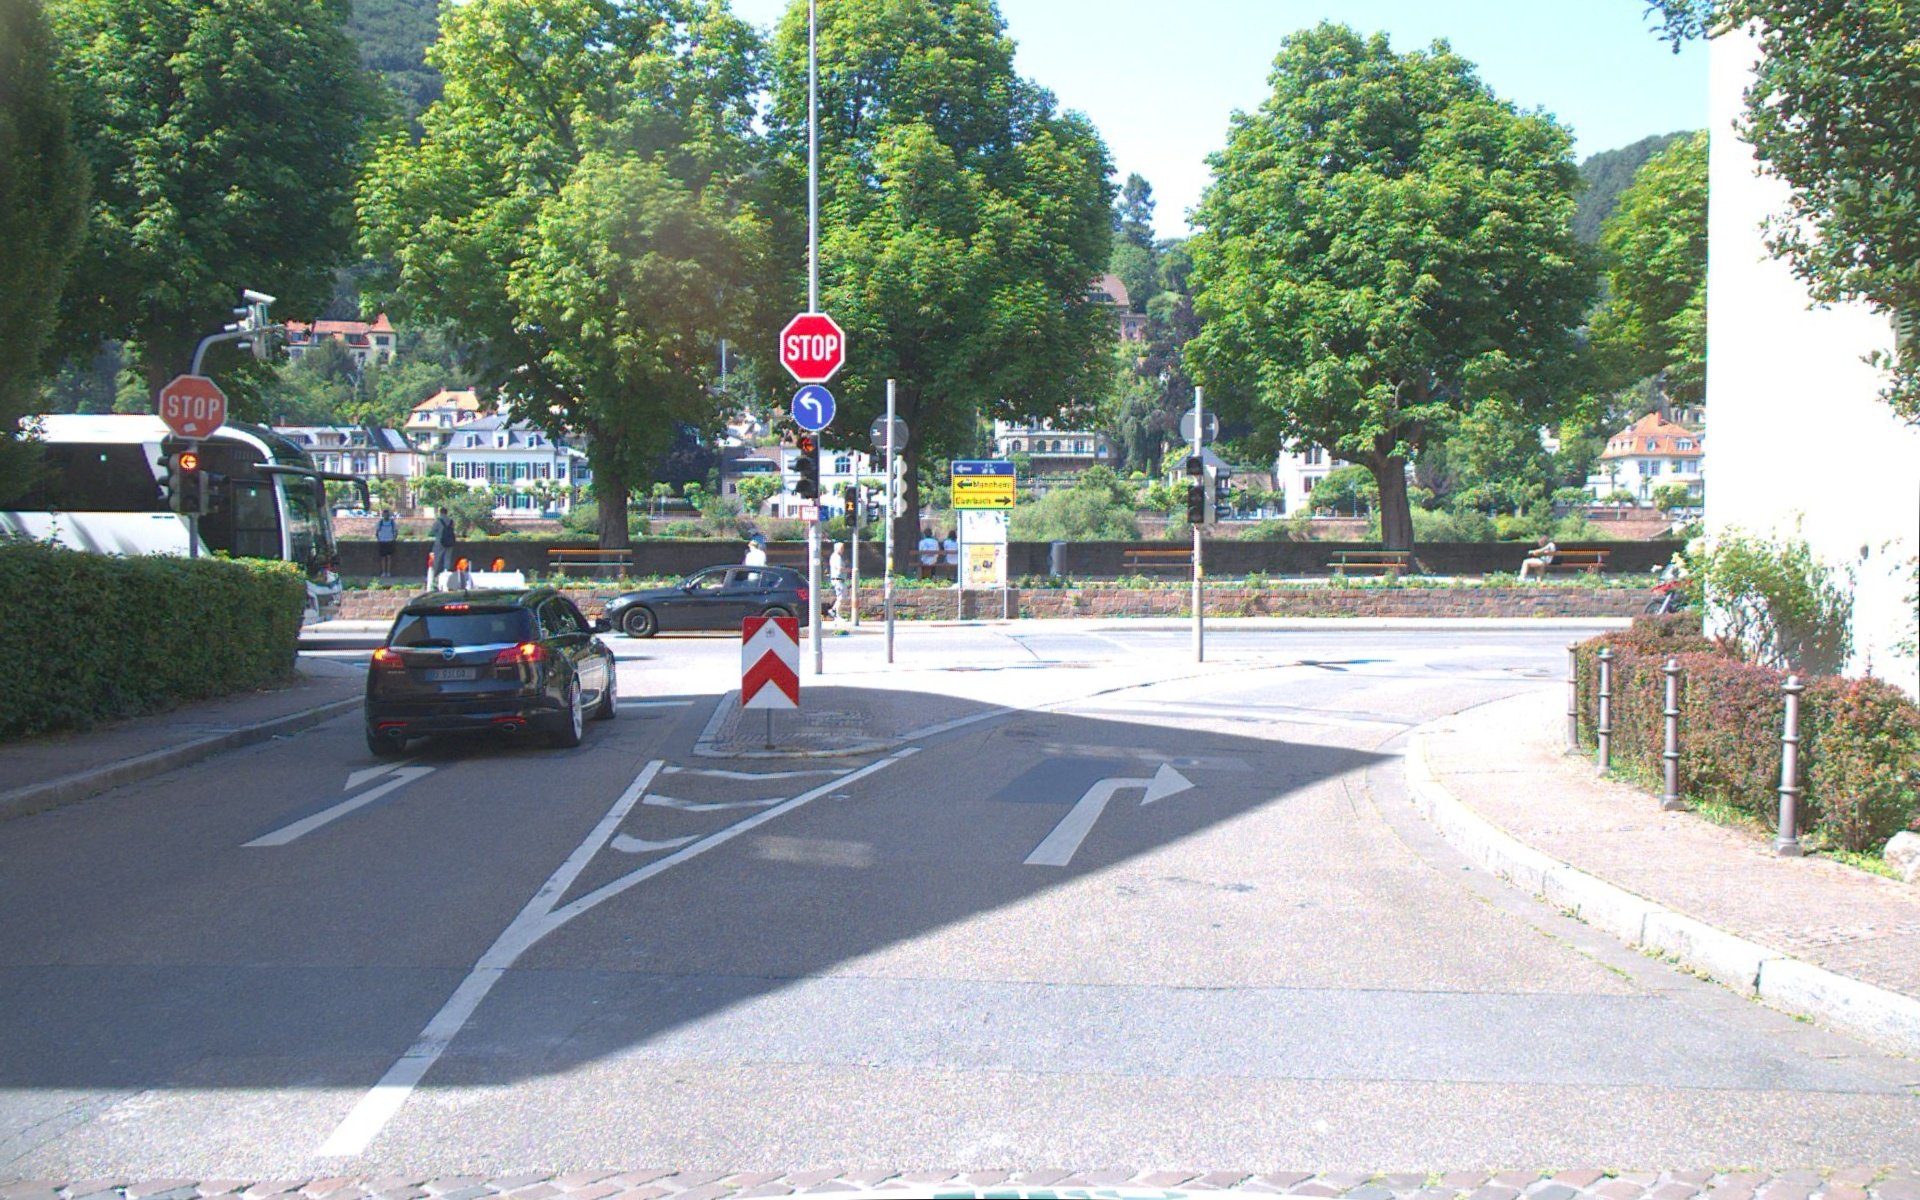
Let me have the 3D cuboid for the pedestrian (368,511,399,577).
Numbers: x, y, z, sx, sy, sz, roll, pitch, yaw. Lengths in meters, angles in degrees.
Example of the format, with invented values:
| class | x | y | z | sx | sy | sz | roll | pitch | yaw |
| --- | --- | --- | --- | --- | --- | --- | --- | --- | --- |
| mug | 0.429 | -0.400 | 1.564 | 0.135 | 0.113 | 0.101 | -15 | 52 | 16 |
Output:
| class | x | y | z | sx | sy | sz | roll | pitch | yaw |
| --- | --- | --- | --- | --- | --- | --- | --- | --- | --- |
| pedestrian | -15.457 | -1.496 | 44.365 | 0.696 | 1.762 | 0.754 | 0 | 1 | -15 |

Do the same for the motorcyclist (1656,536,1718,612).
| class | x | y | z | sx | sy | sz | roll | pitch | yaw |
| --- | --- | --- | --- | --- | --- | --- | --- | --- | --- |
| motorcyclist | 15.001 | -0.542 | 34.125 | 0.855 | 1.520 | 0.817 | -2 | 1 | -7 |

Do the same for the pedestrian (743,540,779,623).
| class | x | y | z | sx | sy | sz | roll | pitch | yaw |
| --- | --- | --- | --- | --- | --- | --- | --- | --- | --- |
| pedestrian | -4.445 | -0.408 | 36.953 | 0.707 | 1.833 | 0.634 | -1 | 0 | -2 |

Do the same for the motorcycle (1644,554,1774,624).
| class | x | y | z | sx | sy | sz | roll | pitch | yaw |
| --- | --- | --- | --- | --- | --- | --- | --- | --- | --- |
| motorcycle | 15.455 | -0.236 | 34.155 | 2.416 | 1.400 | 0.762 | 0 | 1 | -7 |

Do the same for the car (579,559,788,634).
| class | x | y | z | sx | sy | sz | roll | pitch | yaw |
| --- | --- | --- | --- | --- | --- | --- | --- | --- | --- |
| car | -5.405 | -0.082 | 32.754 | 3.908 | 1.443 | 1.873 | 0 | 1 | -4 |

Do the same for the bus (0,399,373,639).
| class | x | y | z | sx | sy | sz | roll | pitch | yaw |
| --- | --- | --- | --- | --- | --- | --- | --- | --- | --- |
| bus | -16.440 | -1.333 | 27.941 | 11.906 | 3.854 | 2.903 | 0 | 1 | -6 |

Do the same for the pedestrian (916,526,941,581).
| class | x | y | z | sx | sy | sz | roll | pitch | yaw |
| --- | --- | --- | --- | --- | --- | --- | --- | --- | --- |
| pedestrian | -0.781 | -1.135 | 40.600 | 0.542 | 1.302 | 0.703 | 2 | -2 | -4 |

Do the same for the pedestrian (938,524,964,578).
| class | x | y | z | sx | sy | sz | roll | pitch | yaw |
| --- | --- | --- | --- | --- | --- | --- | --- | --- | --- |
| pedestrian | -0.221 | -1.198 | 40.771 | 0.542 | 1.249 | 0.985 | 2 | -2 | -4 |

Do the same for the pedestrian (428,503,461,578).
| class | x | y | z | sx | sy | sz | roll | pitch | yaw |
| --- | --- | --- | --- | --- | --- | --- | --- | --- | --- |
| pedestrian | -13.117 | -1.505 | 42.072 | 0.752 | 1.890 | 0.752 | 0 | 1 | -22 |

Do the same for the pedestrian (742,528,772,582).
| class | x | y | z | sx | sy | sz | roll | pitch | yaw |
| --- | --- | --- | --- | --- | --- | --- | --- | --- | --- |
| pedestrian | -4.917 | -1.084 | 39.981 | 0.630 | 1.249 | 0.413 | 2 | -2 | -14 |

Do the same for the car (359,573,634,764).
| class | x | y | z | sx | sy | sz | roll | pitch | yaw |
| --- | --- | --- | --- | --- | --- | --- | --- | --- | --- |
| car | -4.341 | 0.534 | 16.218 | 1.681 | 1.487 | 4.720 | -2 | 2 | -5 |

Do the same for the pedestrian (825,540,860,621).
| class | x | y | z | sx | sy | sz | roll | pitch | yaw |
| --- | --- | --- | --- | --- | --- | --- | --- | --- | --- |
| pedestrian | -2.645 | -0.436 | 37.150 | 0.675 | 1.800 | 0.715 | -1 | 0 | -11 |

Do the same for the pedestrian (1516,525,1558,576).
| class | x | y | z | sx | sy | sz | roll | pitch | yaw |
| --- | --- | --- | --- | --- | --- | --- | --- | --- | --- |
| pedestrian | 14.671 | -1.243 | 42.041 | 0.781 | 1.232 | 0.715 | 2 | -2 | -2 |

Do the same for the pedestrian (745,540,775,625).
| class | x | y | z | sx | sy | sz | roll | pitch | yaw |
| --- | --- | --- | --- | --- | --- | --- | --- | --- | --- |
| pedestrian | -4.364 | -0.392 | 36.109 | 0.566 | 1.833 | 0.705 | 0 | 1 | -2 |
